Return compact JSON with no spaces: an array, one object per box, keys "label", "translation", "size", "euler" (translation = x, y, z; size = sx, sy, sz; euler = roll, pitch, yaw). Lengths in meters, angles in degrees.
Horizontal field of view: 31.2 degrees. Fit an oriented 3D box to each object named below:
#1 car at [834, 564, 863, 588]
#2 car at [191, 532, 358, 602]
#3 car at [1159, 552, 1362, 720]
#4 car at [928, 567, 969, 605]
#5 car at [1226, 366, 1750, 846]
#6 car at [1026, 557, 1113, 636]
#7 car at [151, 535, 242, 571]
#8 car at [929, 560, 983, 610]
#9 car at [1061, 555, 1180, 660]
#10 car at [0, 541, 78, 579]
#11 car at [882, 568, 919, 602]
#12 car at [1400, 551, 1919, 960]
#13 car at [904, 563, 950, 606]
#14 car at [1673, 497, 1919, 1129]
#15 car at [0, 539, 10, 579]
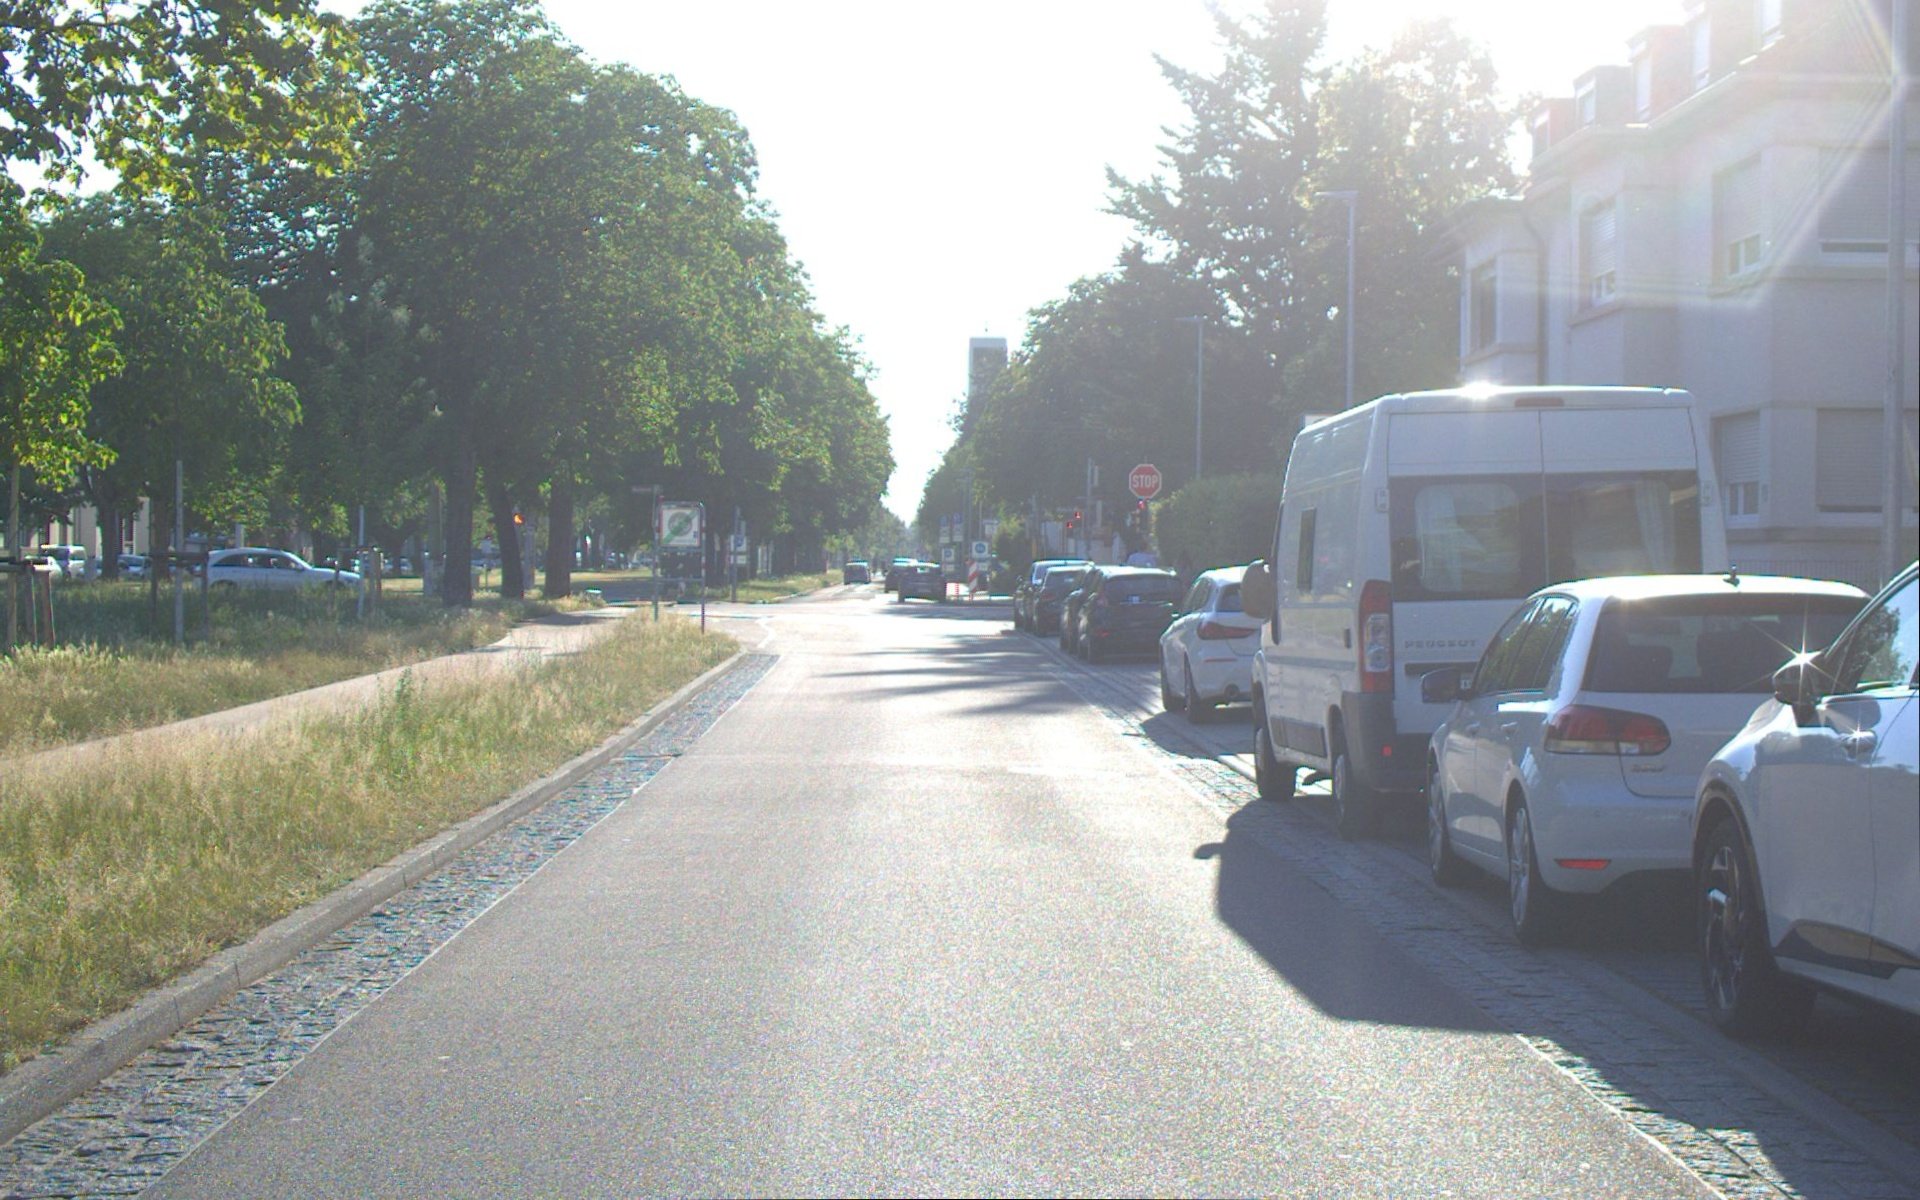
[{"label":"car","translation":[-7.515,-1.628,231.518],"size":[1.810,1.525,3.851],"euler":[0,1,0]},{"label":"car","translation":[-18.682,-0.891,93.881],"size":[4.345,1.758,2.000],"euler":[2,0,-9]},{"label":"car","translation":[2.862,0.305,33.390],"size":[1.650,1.525,3.851],"euler":[0,1,0]},{"label":"car","translation":[-0.472,-0.593,140.779],"size":[1.650,1.525,3.851],"euler":[0,1,0]},{"label":"car","translation":[2.993,-0.009,20.757],"size":[2.126,2.524,5.189],"euler":[0,1,-3]},{"label":"car","translation":[2.184,-0.089,69.509],"size":[1.650,1.525,3.851],"euler":[0,1,0]},{"label":"car","translation":[-40.386,-2.495,181.875],"size":[4.346,1.758,2.000],"euler":[2,0,0]},{"label":"car","translation":[-0.117,-0.482,108.366],"size":[1.650,1.525,3.851],"euler":[0,1,0]},{"label":"car","translation":[2.422,0.088,52.539],"size":[1.650,1.525,3.851],"euler":[0,1,0]},{"label":"car","translation":[-45.554,-1.964,167.970],"size":[4.346,1.758,2.000],"euler":[2,0,0]},{"label":"car","translation":[-2.778,-0.715,160.575],"size":[1.650,1.525,3.851],"euler":[0,1,0]},{"label":"car","translation":[2.961,0.555,14.814],"size":[1.650,1.525,3.851],"euler":[0,1,0]},{"label":"car","translation":[-1.209,-0.579,126.791],"size":[1.650,1.525,3.851],"euler":[0,1,0]},{"label":"car","translation":[3.368,0.537,9.364],"size":[1.837,1.630,4.132],"euler":[0,1,-2]},{"label":"car","translation":[-45.155,-1.920,154.363],"size":[4.346,1.758,2.000],"euler":[2,0,0]}]
